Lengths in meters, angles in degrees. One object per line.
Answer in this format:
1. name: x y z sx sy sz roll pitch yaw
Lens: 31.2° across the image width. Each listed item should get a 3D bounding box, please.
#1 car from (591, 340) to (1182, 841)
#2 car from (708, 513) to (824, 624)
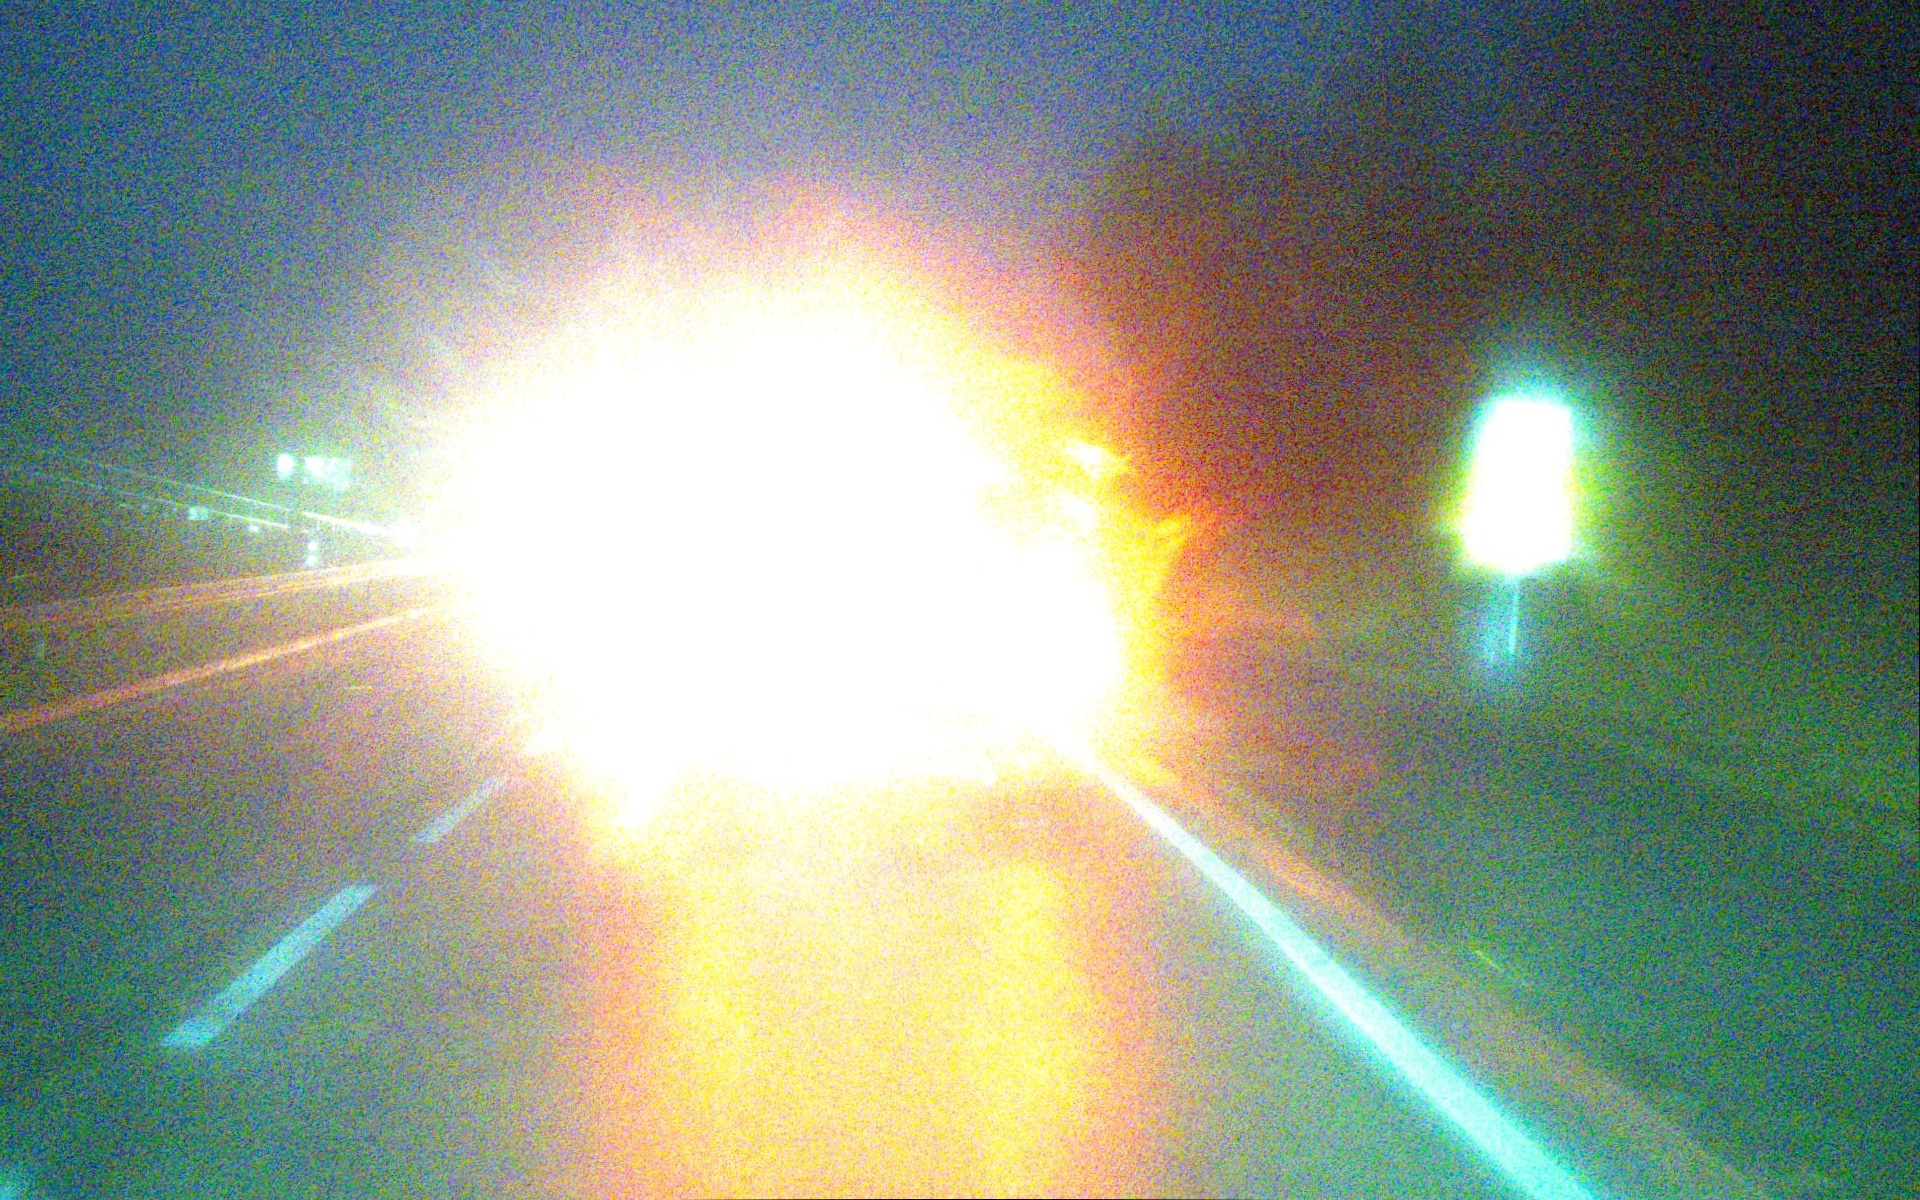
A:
1. car: -0.490 -0.114 18.952 2.715 2.299 6.101 0 1 -3
2. car: -3.430 -0.582 61.243 1.993 1.908 4.001 0 1 -2
